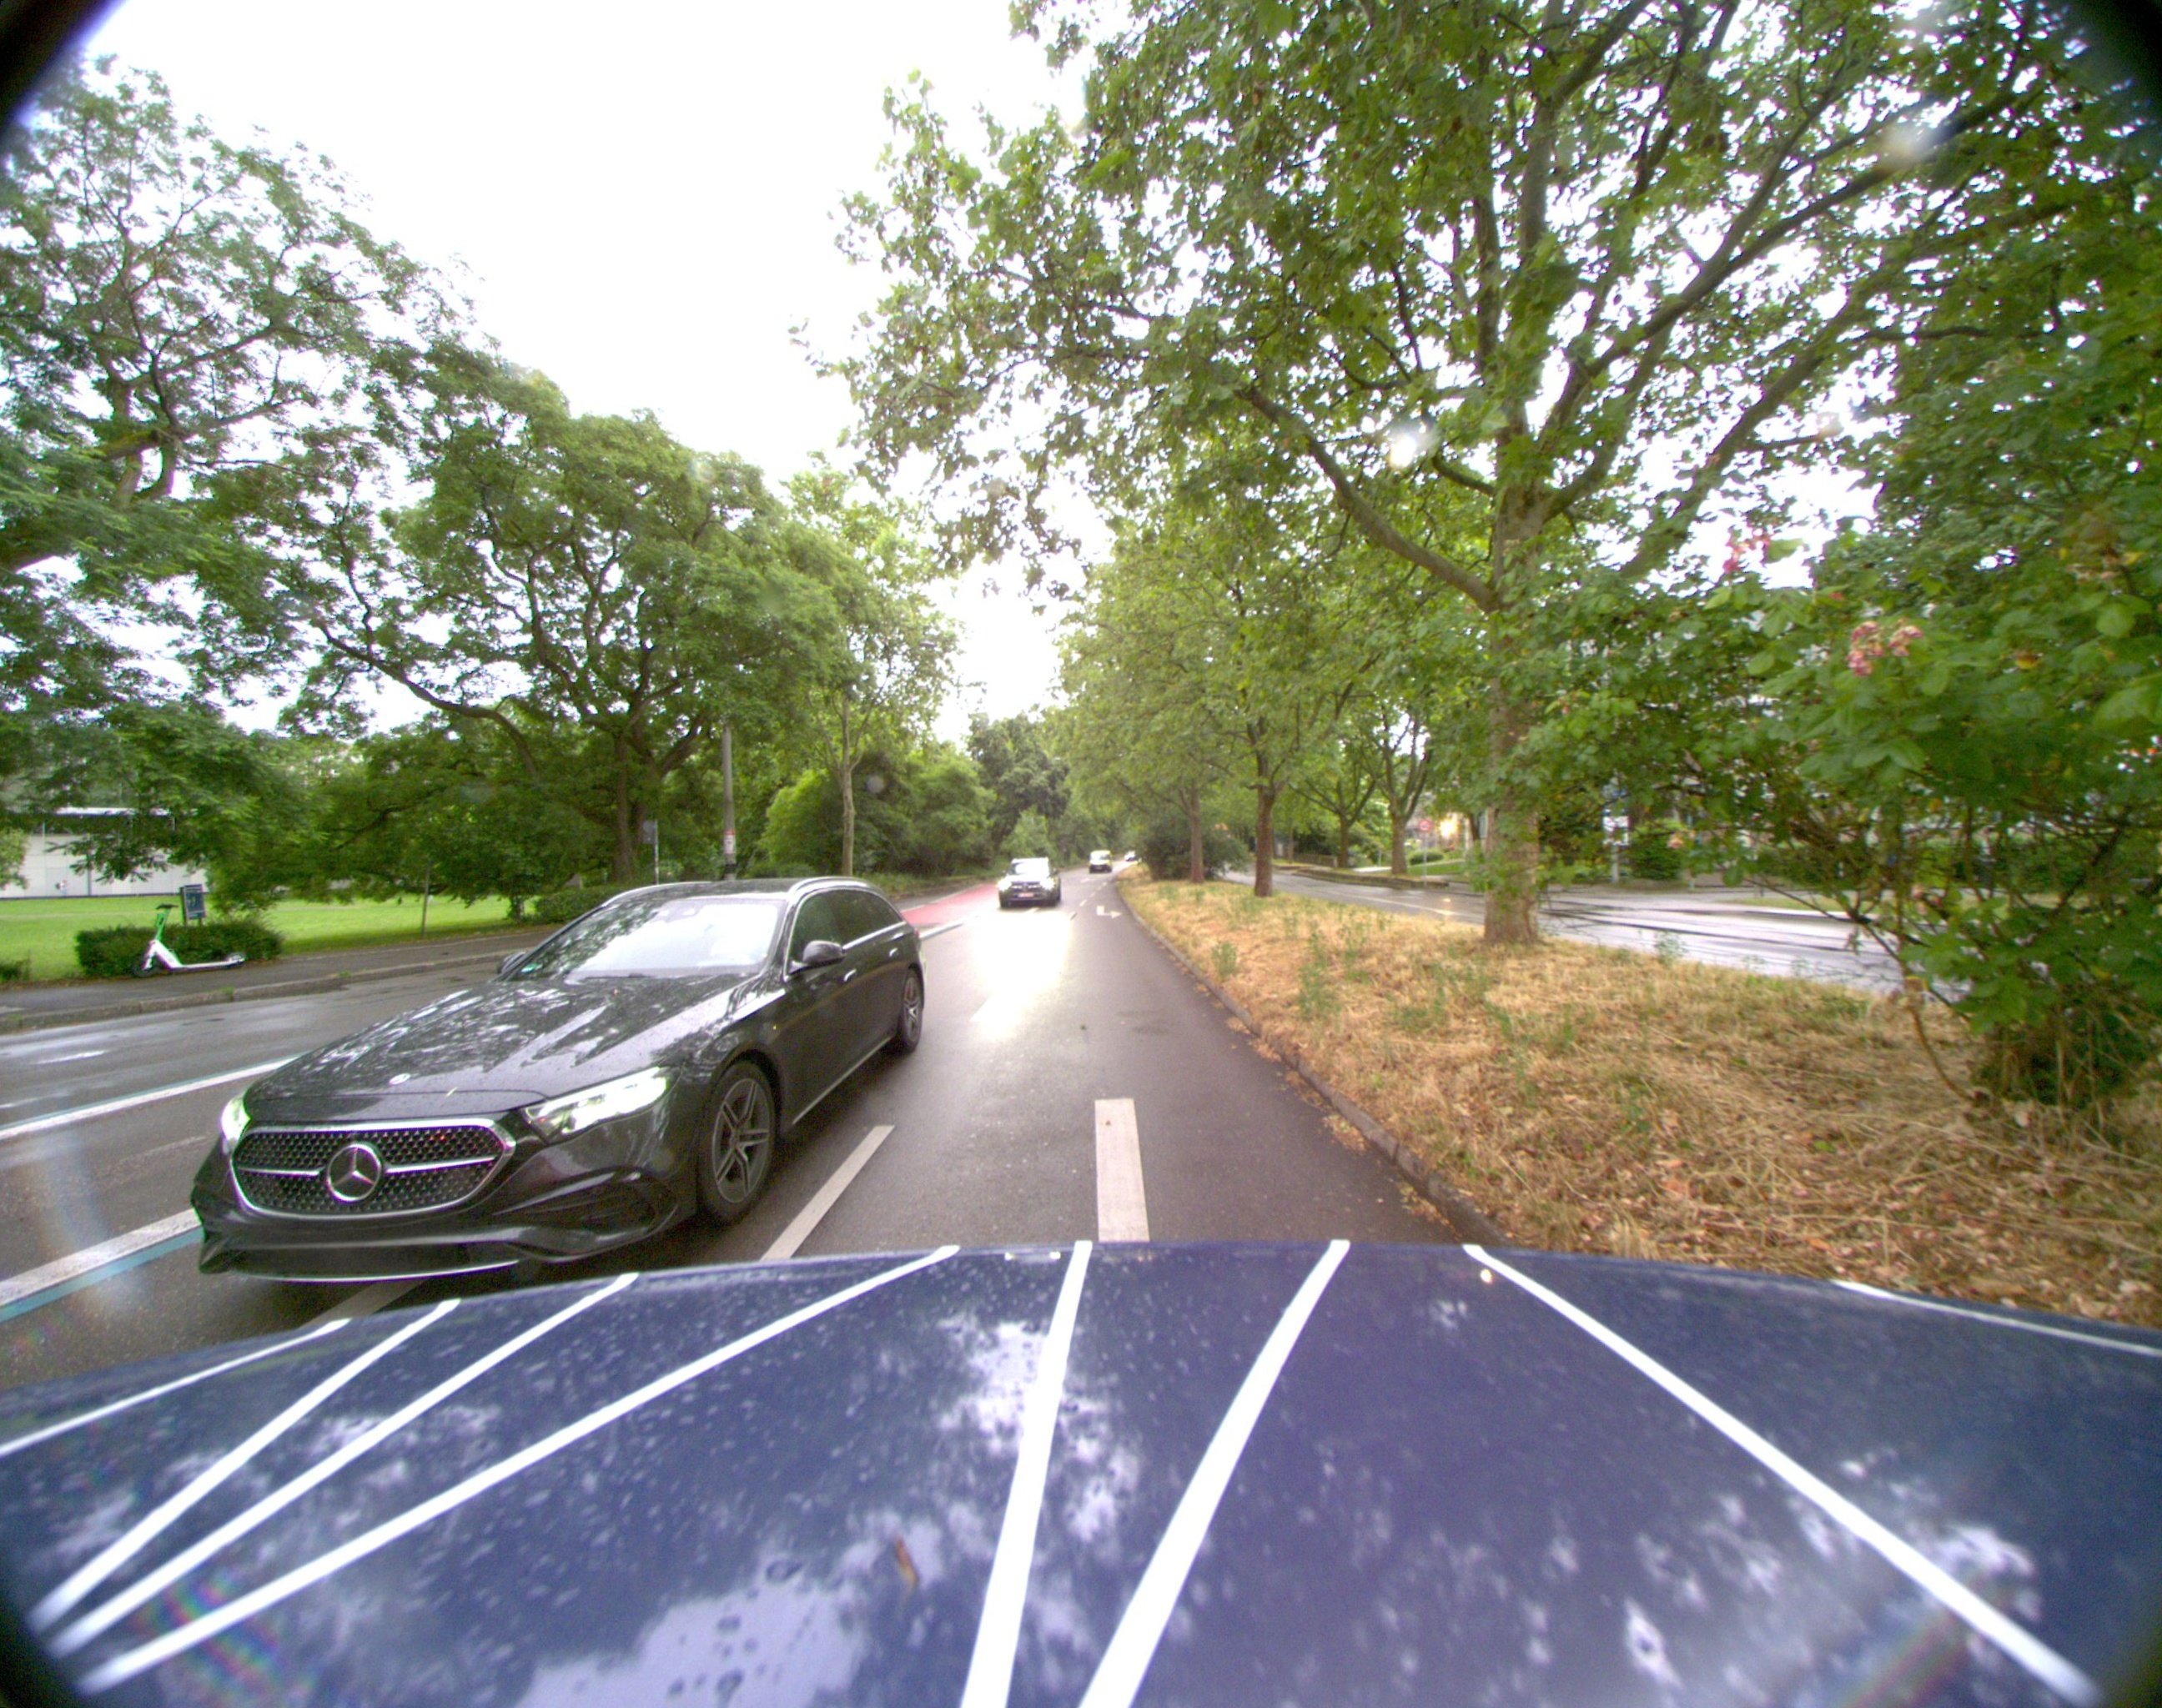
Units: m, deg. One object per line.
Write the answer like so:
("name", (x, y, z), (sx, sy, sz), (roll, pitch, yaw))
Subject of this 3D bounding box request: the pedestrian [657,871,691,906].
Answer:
("pedestrian", (-19.567, 1.663, 36.547), (1.068, 1.597, 1.060), (-1, 2, 42))

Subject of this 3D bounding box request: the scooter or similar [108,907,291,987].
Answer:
("scooter or similar", (-14.552, 1.494, 12.626), (0.557, 1.095, 1.894), (2, 0, 22))

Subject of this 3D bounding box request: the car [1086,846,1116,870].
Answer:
("car", (1.774, 0.327, 65.169), (1.883, 1.865, 4.744), (-3, 0, 8))

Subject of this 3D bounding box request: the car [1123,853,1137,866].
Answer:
("car", (7.171, 0.733, 110.300), (1.906, 1.766, 4.001), (-2, 0, 5))

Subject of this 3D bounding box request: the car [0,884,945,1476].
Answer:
("car", (-2.362, 1.043, 4.614), (1.884, 1.437, 4.931), (-3, 0, 3))

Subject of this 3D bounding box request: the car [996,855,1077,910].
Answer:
("car", (-1.466, 0.935, 26.995), (1.832, 1.599, 4.579), (-2, 1, 10))
